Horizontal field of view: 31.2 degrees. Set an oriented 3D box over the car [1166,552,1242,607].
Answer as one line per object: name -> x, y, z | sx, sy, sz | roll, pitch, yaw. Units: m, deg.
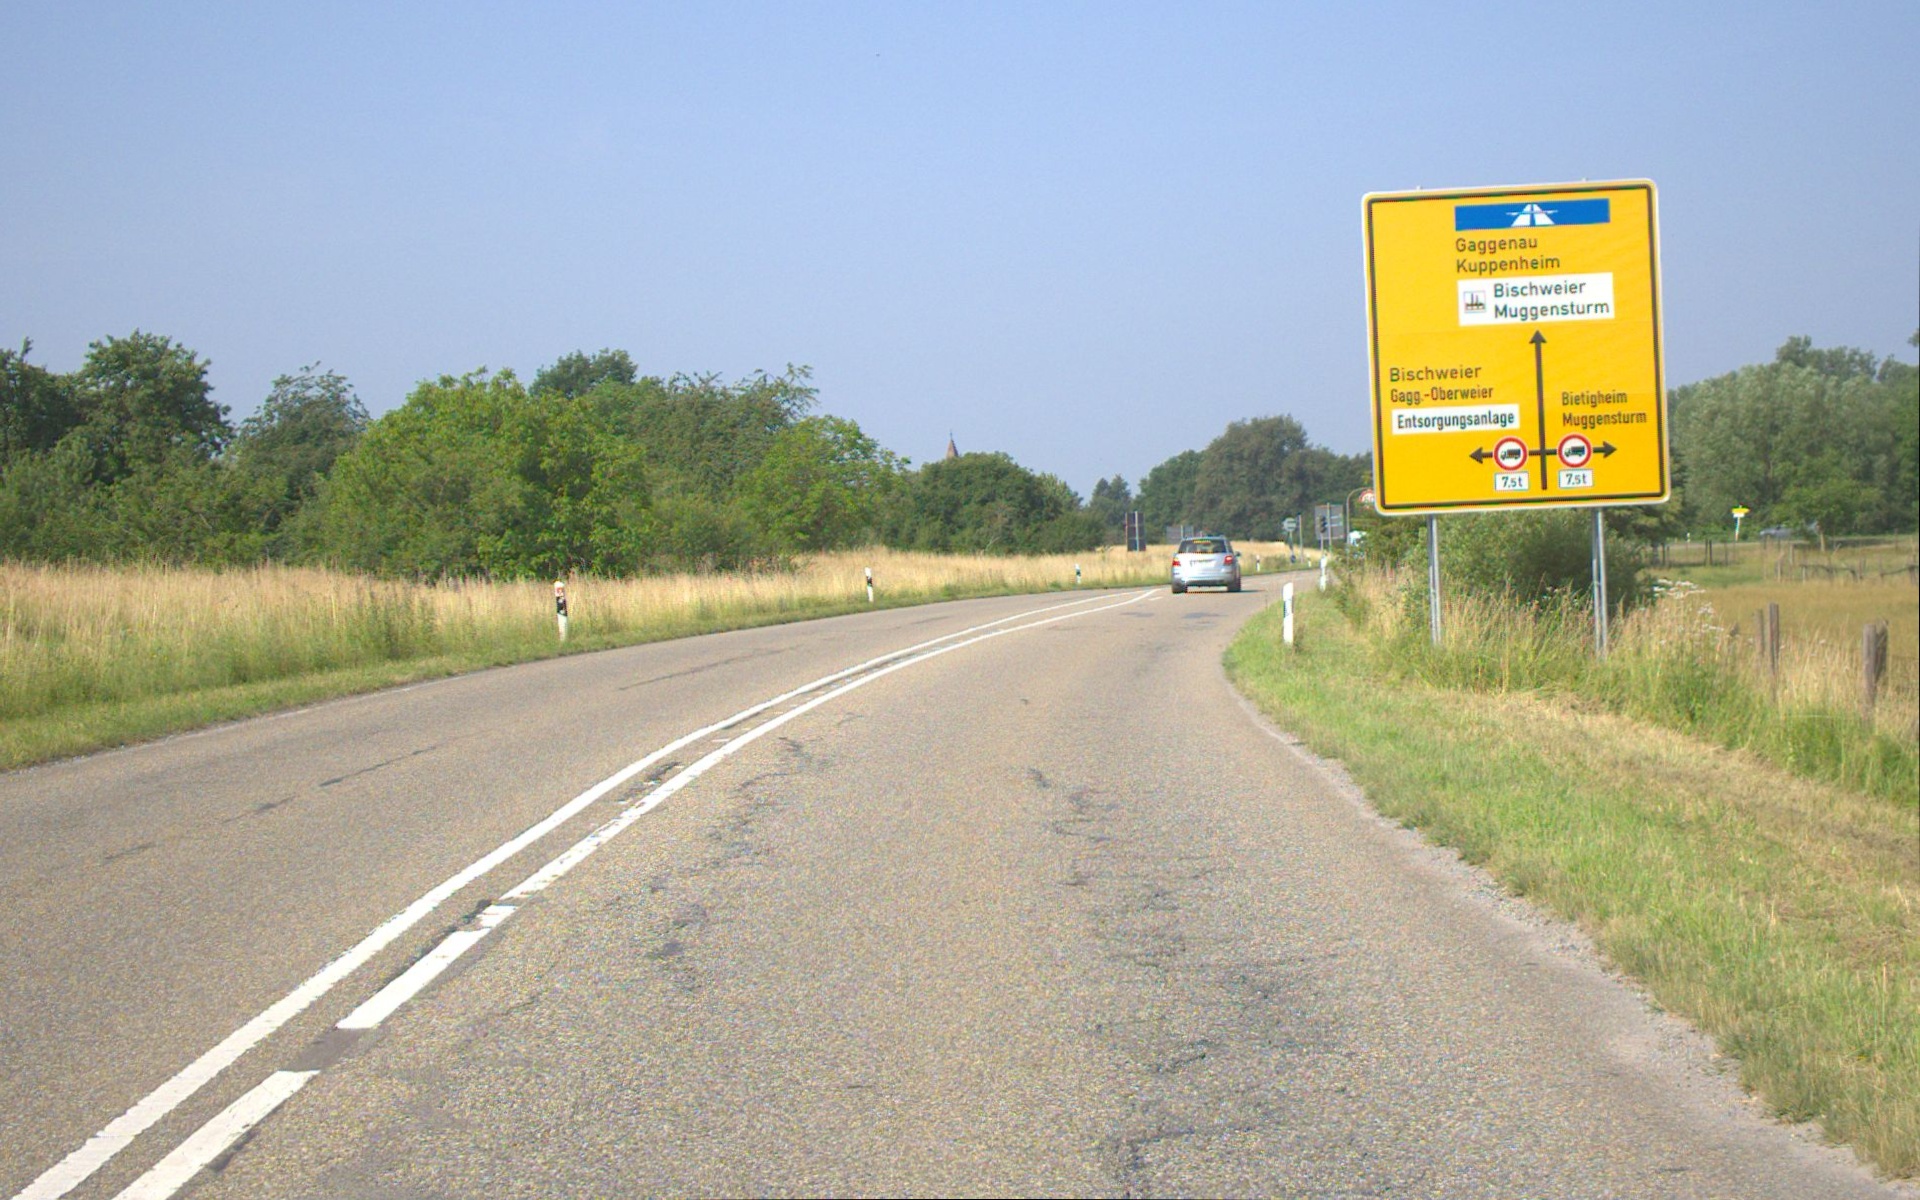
car -> 7.038, -0.597, 98.886 | 1.900, 1.506, 3.999 | 1, 1, 8
